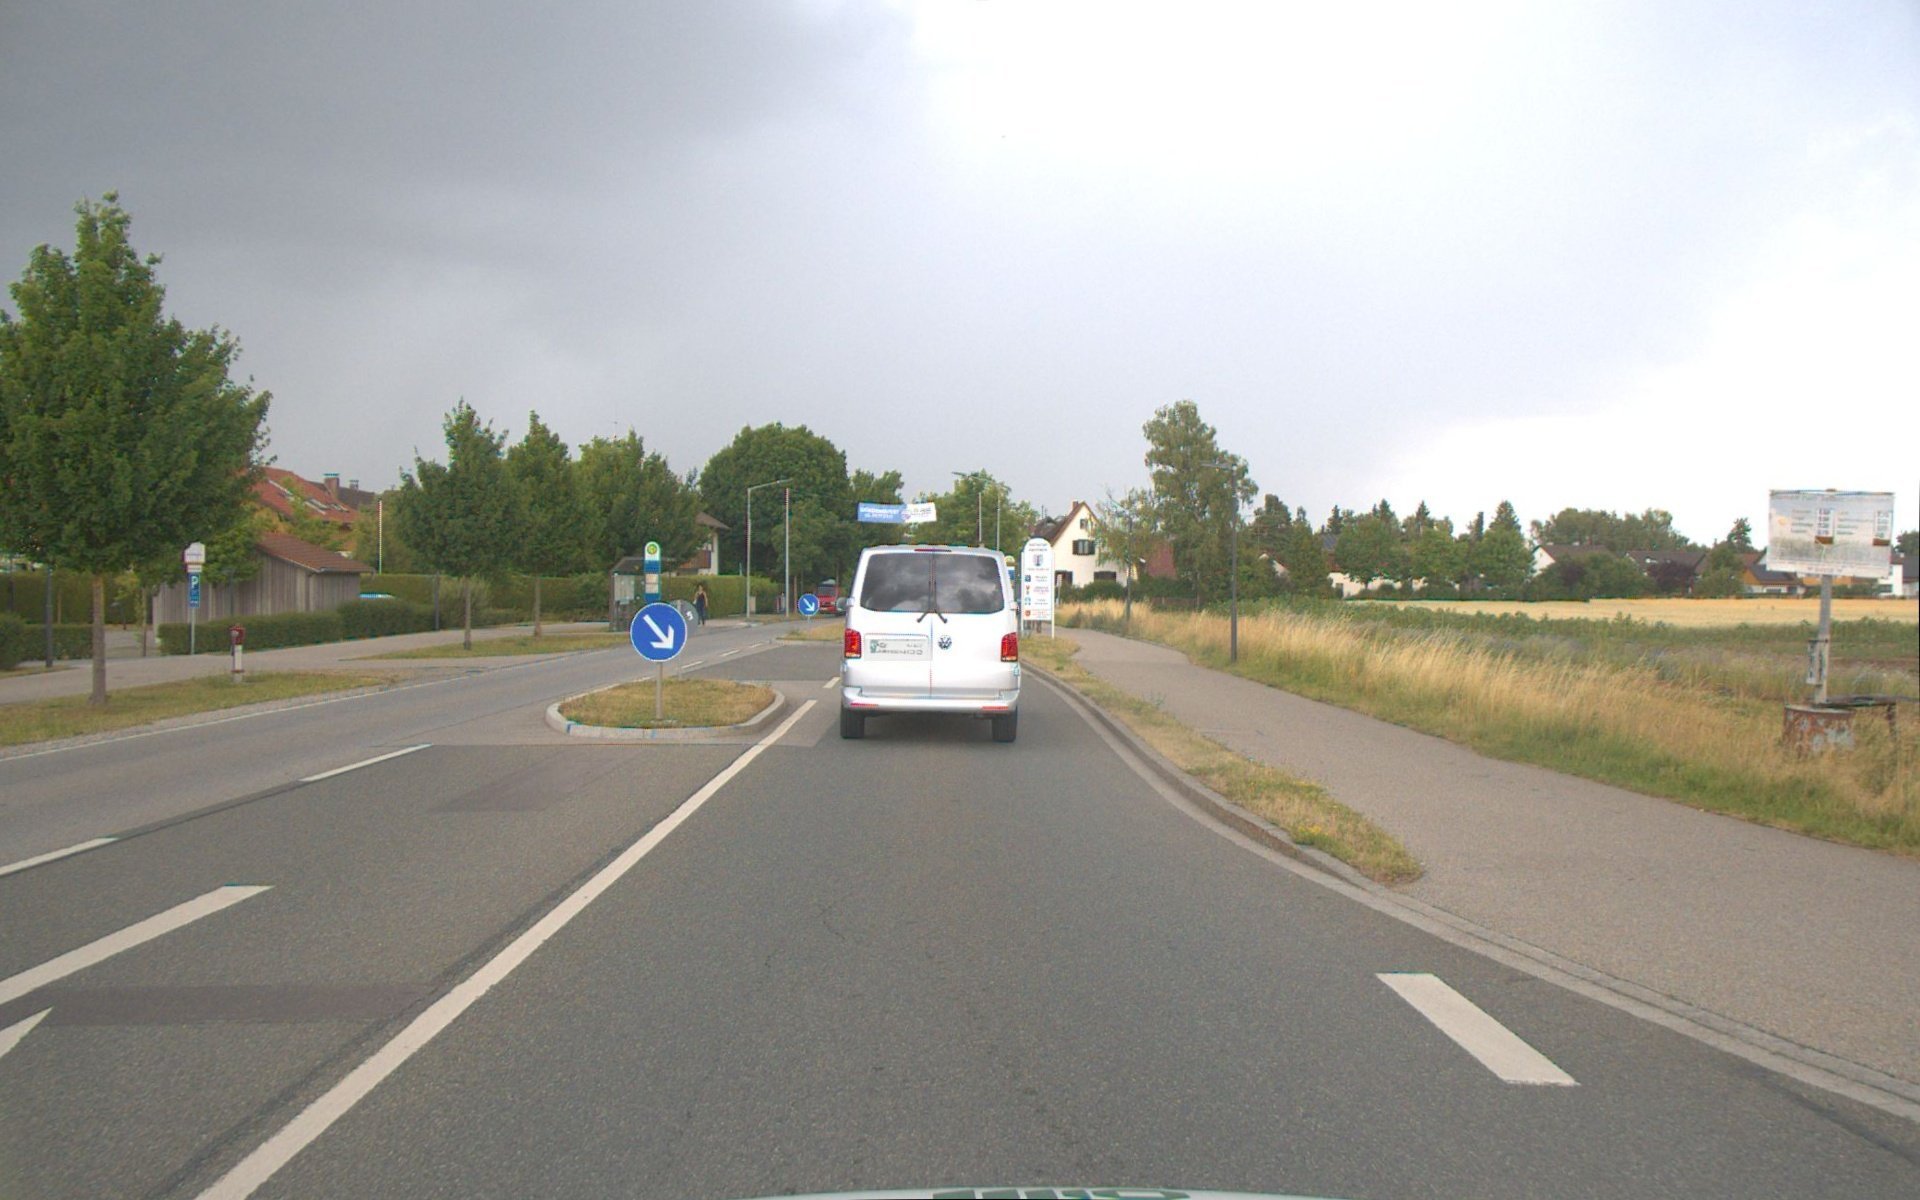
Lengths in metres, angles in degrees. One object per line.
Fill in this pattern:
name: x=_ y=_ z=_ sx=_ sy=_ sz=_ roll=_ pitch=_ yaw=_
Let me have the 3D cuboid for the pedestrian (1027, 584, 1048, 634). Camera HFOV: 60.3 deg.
pedestrian: x=2.745 y=0.323 z=58.726 sx=0.479 sy=1.762 sz=0.637 roll=-2 pitch=0 yaw=-26

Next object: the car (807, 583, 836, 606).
car: x=-8.942 y=-0.372 z=106.712 sx=1.620 sy=1.454 sz=3.601 roll=-1 pitch=1 yaw=-1

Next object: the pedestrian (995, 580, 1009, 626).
pedestrian: x=1.646 y=0.108 z=64.646 sx=0.475 sy=1.762 sz=0.642 roll=-1 pitch=0 yaw=-2

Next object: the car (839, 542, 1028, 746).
car: x=-0.340 y=0.403 z=18.001 sx=1.789 sy=1.947 sz=3.998 roll=1 pitch=1 yaw=-3

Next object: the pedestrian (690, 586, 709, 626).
pedestrian: x=-10.368 y=0.241 z=65.902 sx=0.611 sy=1.551 sz=0.679 roll=-1 pitch=0 yaw=-1

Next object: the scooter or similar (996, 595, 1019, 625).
scooter or similar: x=1.851 y=0.387 z=64.354 sx=0.831 sy=1.123 sz=1.094 roll=-1 pitch=1 yaw=-1
